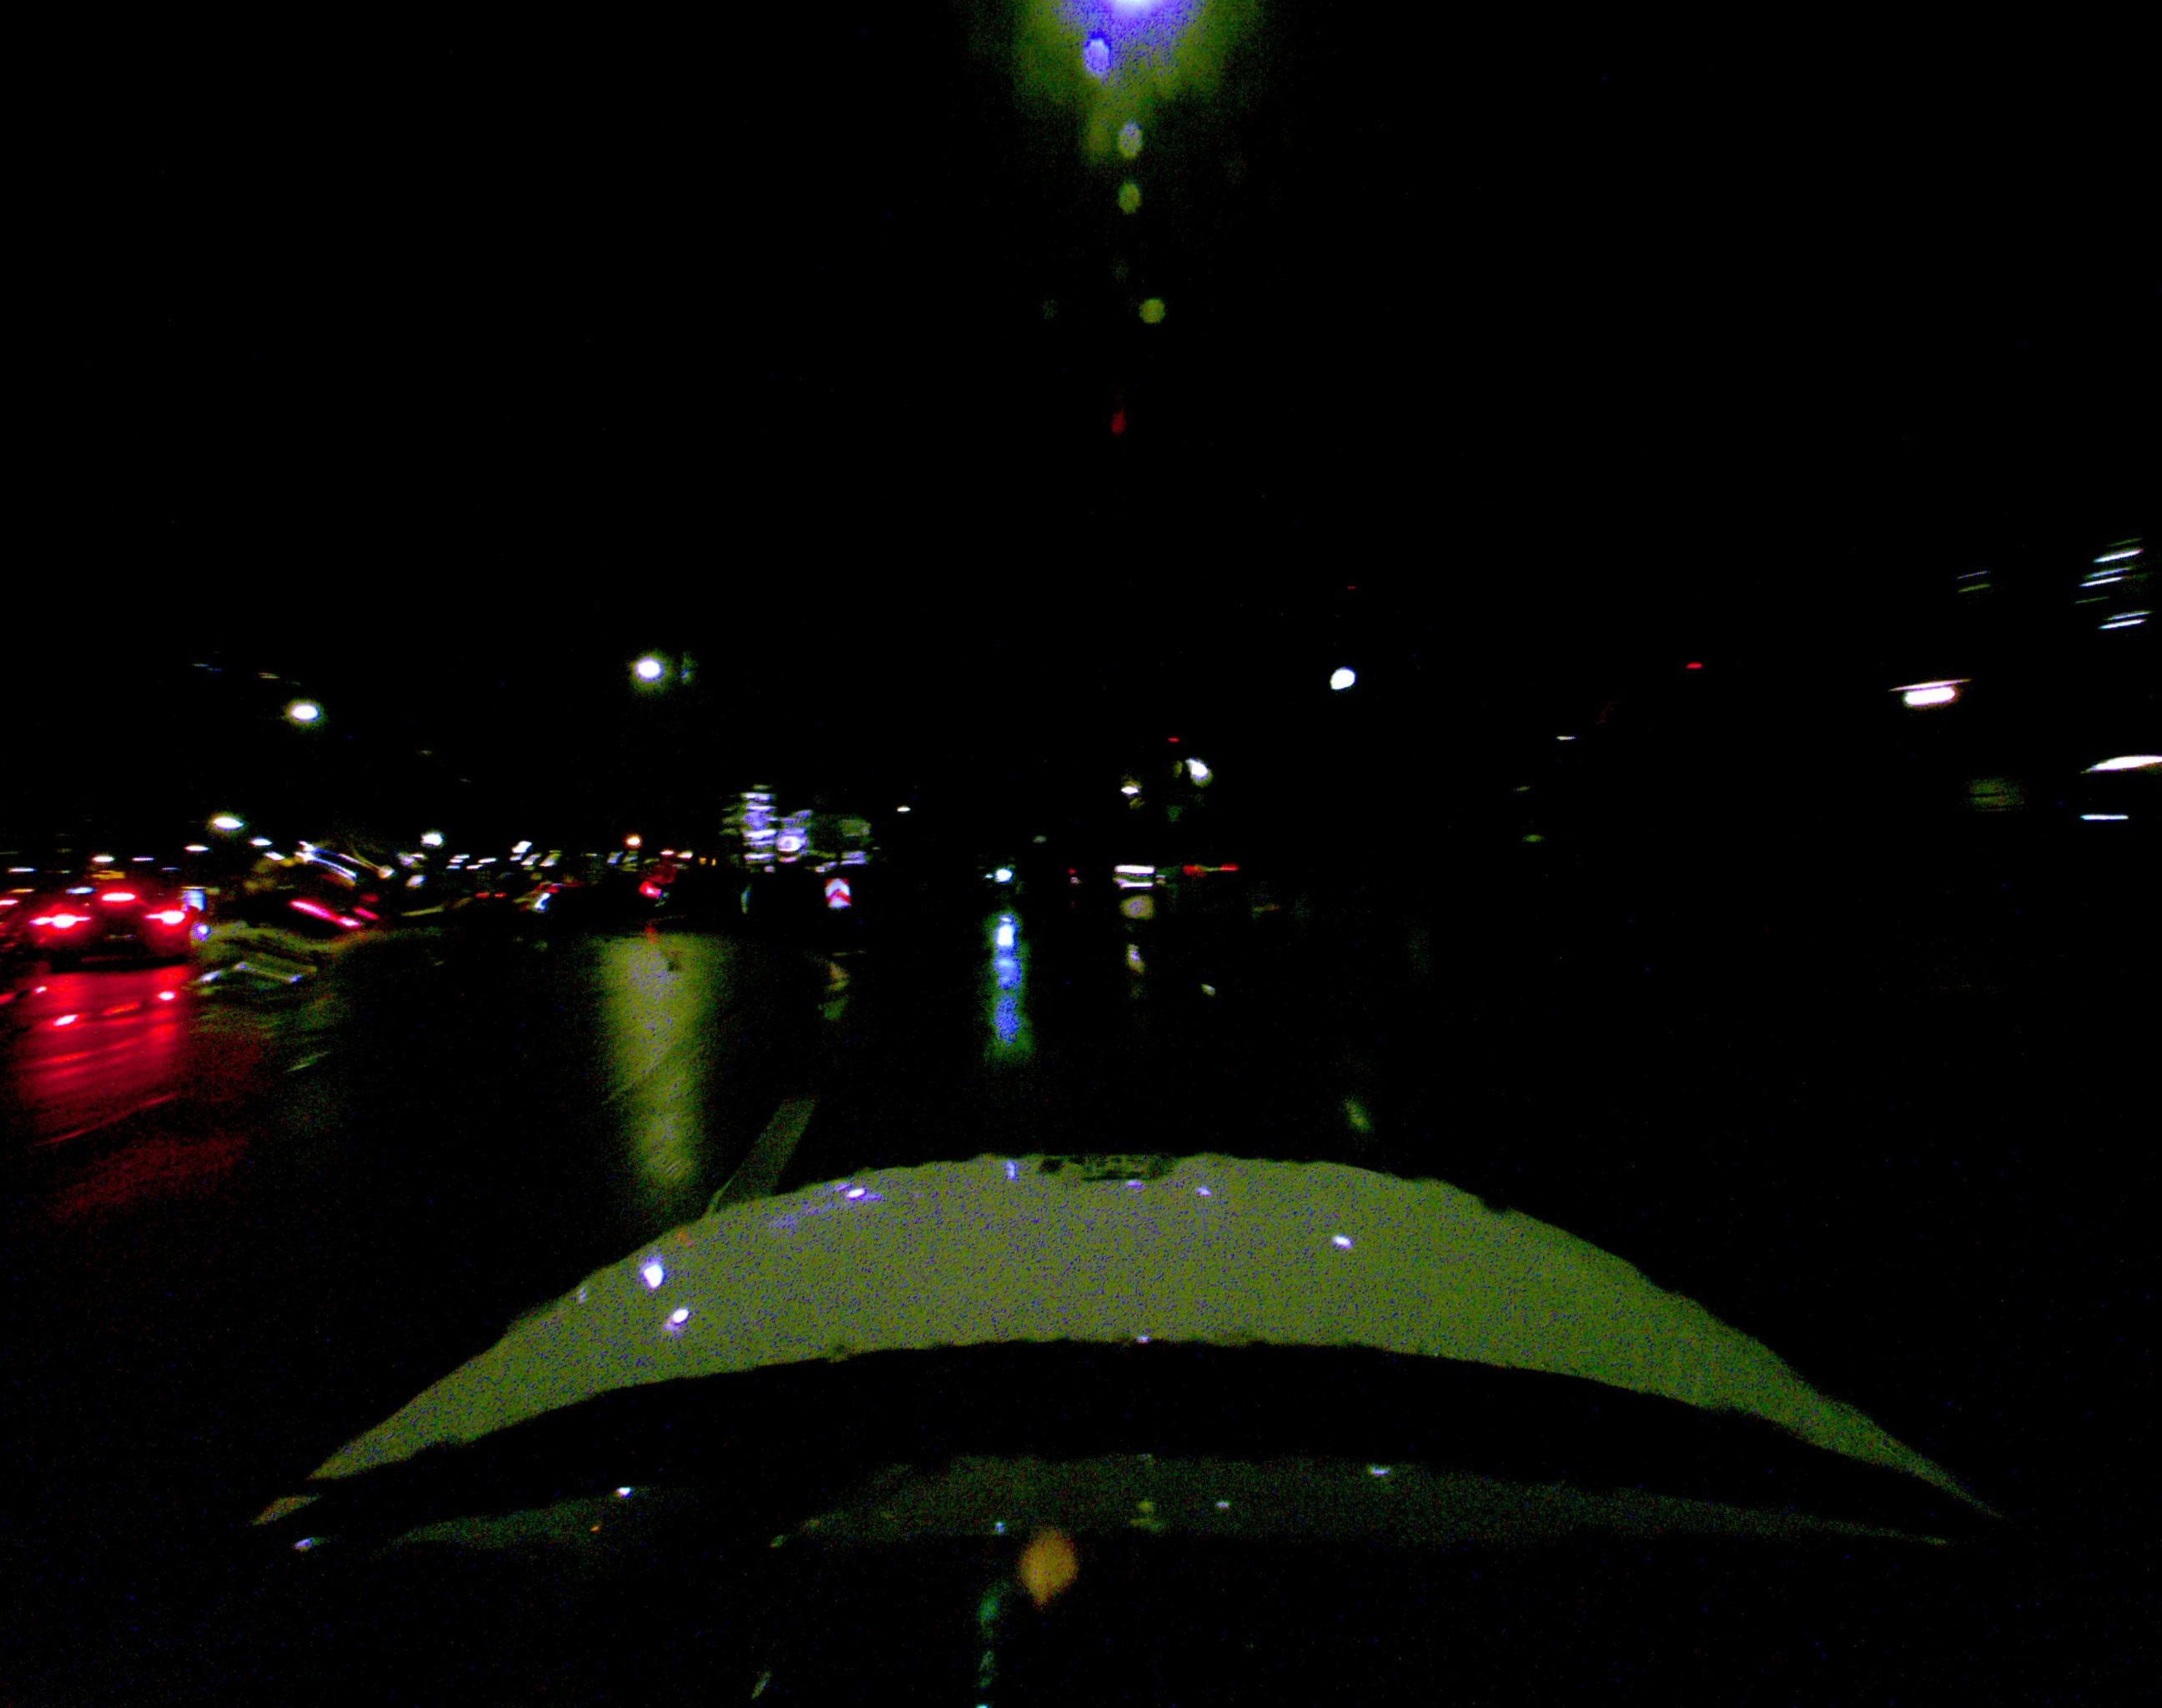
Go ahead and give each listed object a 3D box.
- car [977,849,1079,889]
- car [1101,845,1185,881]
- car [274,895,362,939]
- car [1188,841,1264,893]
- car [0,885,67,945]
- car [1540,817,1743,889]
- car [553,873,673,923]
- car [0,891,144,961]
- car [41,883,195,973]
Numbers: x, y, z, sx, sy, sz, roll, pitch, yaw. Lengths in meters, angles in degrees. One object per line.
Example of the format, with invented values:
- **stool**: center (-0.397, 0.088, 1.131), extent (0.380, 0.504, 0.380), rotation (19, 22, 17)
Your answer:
- **car**: center (-2.604, 0.716, 40.244), extent (4.635, 1.736, 1.980), rotation (-2, 1, -32)
- **car**: center (3.440, 0.450, 44.878), extent (4.412, 1.758, 1.858), rotation (-2, 1, -34)
- **car**: center (-31.411, 2.552, 33.508), extent (3.948, 1.583, 1.606), rotation (-1, 1, 32)
- **car**: center (6.332, 0.513, 35.148), extent (1.975, 2.013, 4.585), rotation (-2, 1, 27)
- **car**: center (-31.611, 1.771, 23.399), extent (3.920, 1.578, 1.745), rotation (-2, 1, 18)
- **car**: center (14.644, -0.042, 21.463), extent (1.926, 1.684, 3.957), rotation (-2, 1, -34)
- **car**: center (-18.202, 1.685, 31.861), extent (3.901, 1.640, 1.847), rotation (-2, 1, -28)
- **car**: center (-27.001, 1.845, 21.460), extent (3.916, 1.578, 1.887), rotation (-2, 1, 23)
- **car**: center (-20.656, 1.491, 17.633), extent (1.747, 1.578, 3.916), rotation (-2, 1, -44)
